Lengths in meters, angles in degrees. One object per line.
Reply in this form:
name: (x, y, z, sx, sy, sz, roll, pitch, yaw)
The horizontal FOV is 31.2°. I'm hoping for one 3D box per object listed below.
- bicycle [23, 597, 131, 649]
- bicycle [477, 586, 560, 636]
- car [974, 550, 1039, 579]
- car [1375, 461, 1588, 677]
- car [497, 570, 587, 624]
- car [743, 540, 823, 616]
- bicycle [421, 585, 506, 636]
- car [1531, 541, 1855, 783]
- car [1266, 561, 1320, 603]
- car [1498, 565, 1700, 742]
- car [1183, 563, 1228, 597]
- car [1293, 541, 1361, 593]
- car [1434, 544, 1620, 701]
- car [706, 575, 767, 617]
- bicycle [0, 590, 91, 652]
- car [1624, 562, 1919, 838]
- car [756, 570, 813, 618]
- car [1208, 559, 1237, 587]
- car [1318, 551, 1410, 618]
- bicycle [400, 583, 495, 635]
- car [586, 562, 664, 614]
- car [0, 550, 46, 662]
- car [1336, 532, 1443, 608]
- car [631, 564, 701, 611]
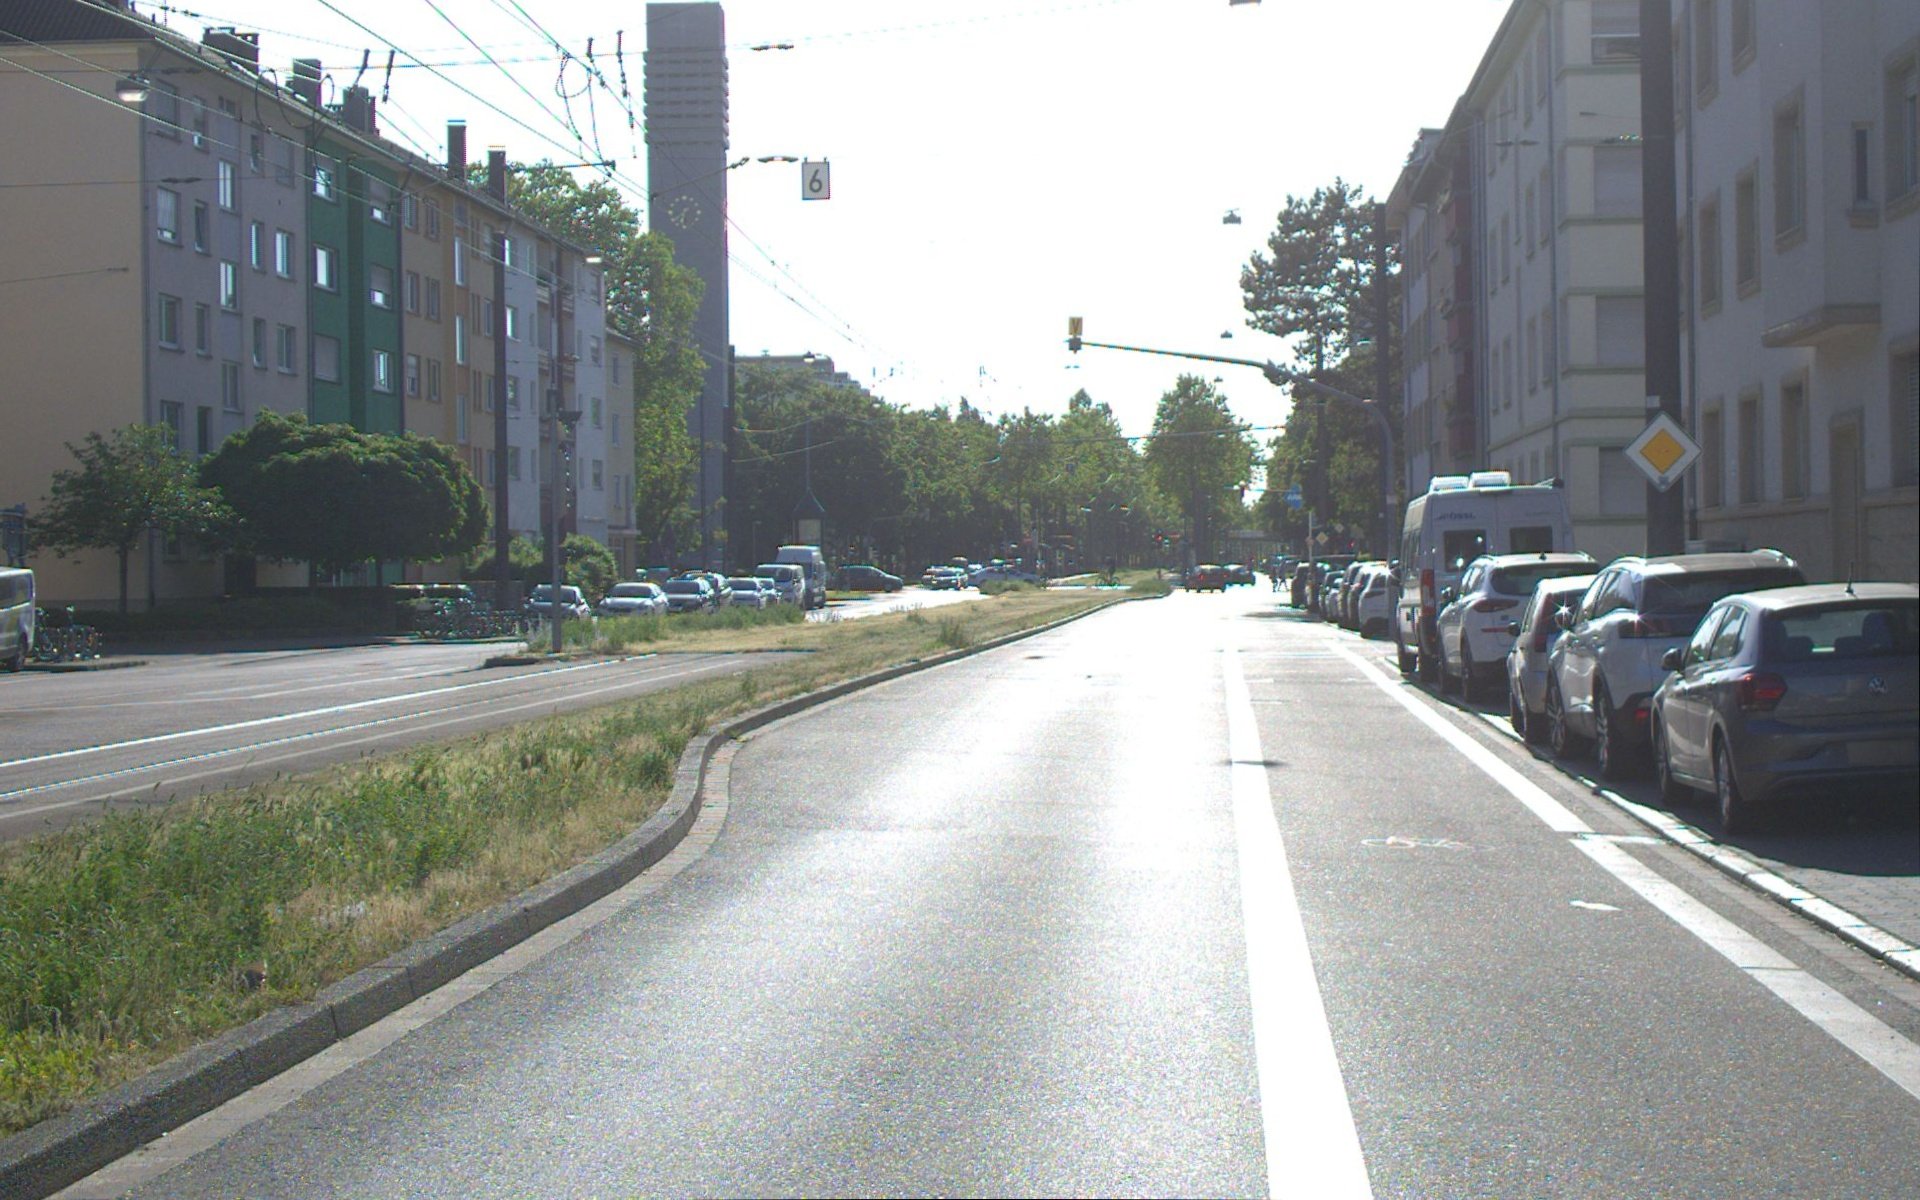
bicycle: (-18.200, 0.482, 70.896, 2.073, 1.019, 0.804, -1, -1, -9)
bicycle: (-12.035, 0.292, 93.674, 2.127, 1.320, 0.897, -1, -1, -13)
car: (2.901, -2.223, 216.871, 3.987, 1.678, 2.000, -1, -1, -1)
car: (7.012, -0.435, 46.809, 2.158, 2.642, 5.643, -3, 1, 3)
car: (-12.109, -0.066, 99.851, 1.993, 1.448, 3.999, -1, -1, 2)
car: (-8.095, -0.983, 158.079, 2.986, 3.227, 6.792, -1, -1, 2)
bicycle: (-13.178, 0.283, 91.263, 2.127, 1.320, 0.897, -1, -1, -2)
car: (5.591, 0.411, 26.694, 1.662, 1.638, 4.184, -3, 1, 2)
car: (12.950, -0.699, 133.791, 1.897, 1.482, 3.739, -1, -1, 3)
car: (5.799, 0.449, 31.480, 1.502, 1.421, 3.452, -3, 1, 6)
car: (13.610, -1.099, 190.956, 1.993, 1.777, 4.000, -1, -1, -3)
car: (11.490, -1.020, 107.890, 1.897, 1.482, 3.739, -1, -1, 3)
car: (6.470, 0.220, 39.572, 1.590, 1.629, 3.918, -3, 1, 3)
car: (-8.914, -0.165, 137.622, 1.994, 1.548, 3.999, -1, -1, 2)
bicycle: (-18.476, 0.425, 68.903, 1.963, 1.202, 0.697, -1, -2, -22)
car: (5.382, 0.550, 21.646, 1.773, 1.466, 4.093, -3, 1, 4)
car: (-7.591, -0.252, 149.217, 1.994, 1.958, 4.751, -1, -1, 2)
car: (17.633, -1.806, 230.766, 1.844, 1.681, 3.999, -1, -1, 3)
car: (9.839, -0.358, 83.910, 1.897, 1.482, 3.739, -1, -1, 2)
bicycle: (-13.315, 0.244, 89.375, 2.308, 1.300, 0.913, -1, -1, 1)
car: (-10.950, -0.367, 112.644, 1.994, 1.576, 3.999, -1, -1, 2)
car: (-19.060, 0.131, 64.715, 2.004, 2.098, 5.305, -1, 0, 3)
car: (9.142, -0.614, 73.365, 1.897, 1.482, 3.739, -1, -1, 2)
car: (-10.487, -0.437, 122.947, 1.994, 1.548, 3.999, -1, -1, 2)
